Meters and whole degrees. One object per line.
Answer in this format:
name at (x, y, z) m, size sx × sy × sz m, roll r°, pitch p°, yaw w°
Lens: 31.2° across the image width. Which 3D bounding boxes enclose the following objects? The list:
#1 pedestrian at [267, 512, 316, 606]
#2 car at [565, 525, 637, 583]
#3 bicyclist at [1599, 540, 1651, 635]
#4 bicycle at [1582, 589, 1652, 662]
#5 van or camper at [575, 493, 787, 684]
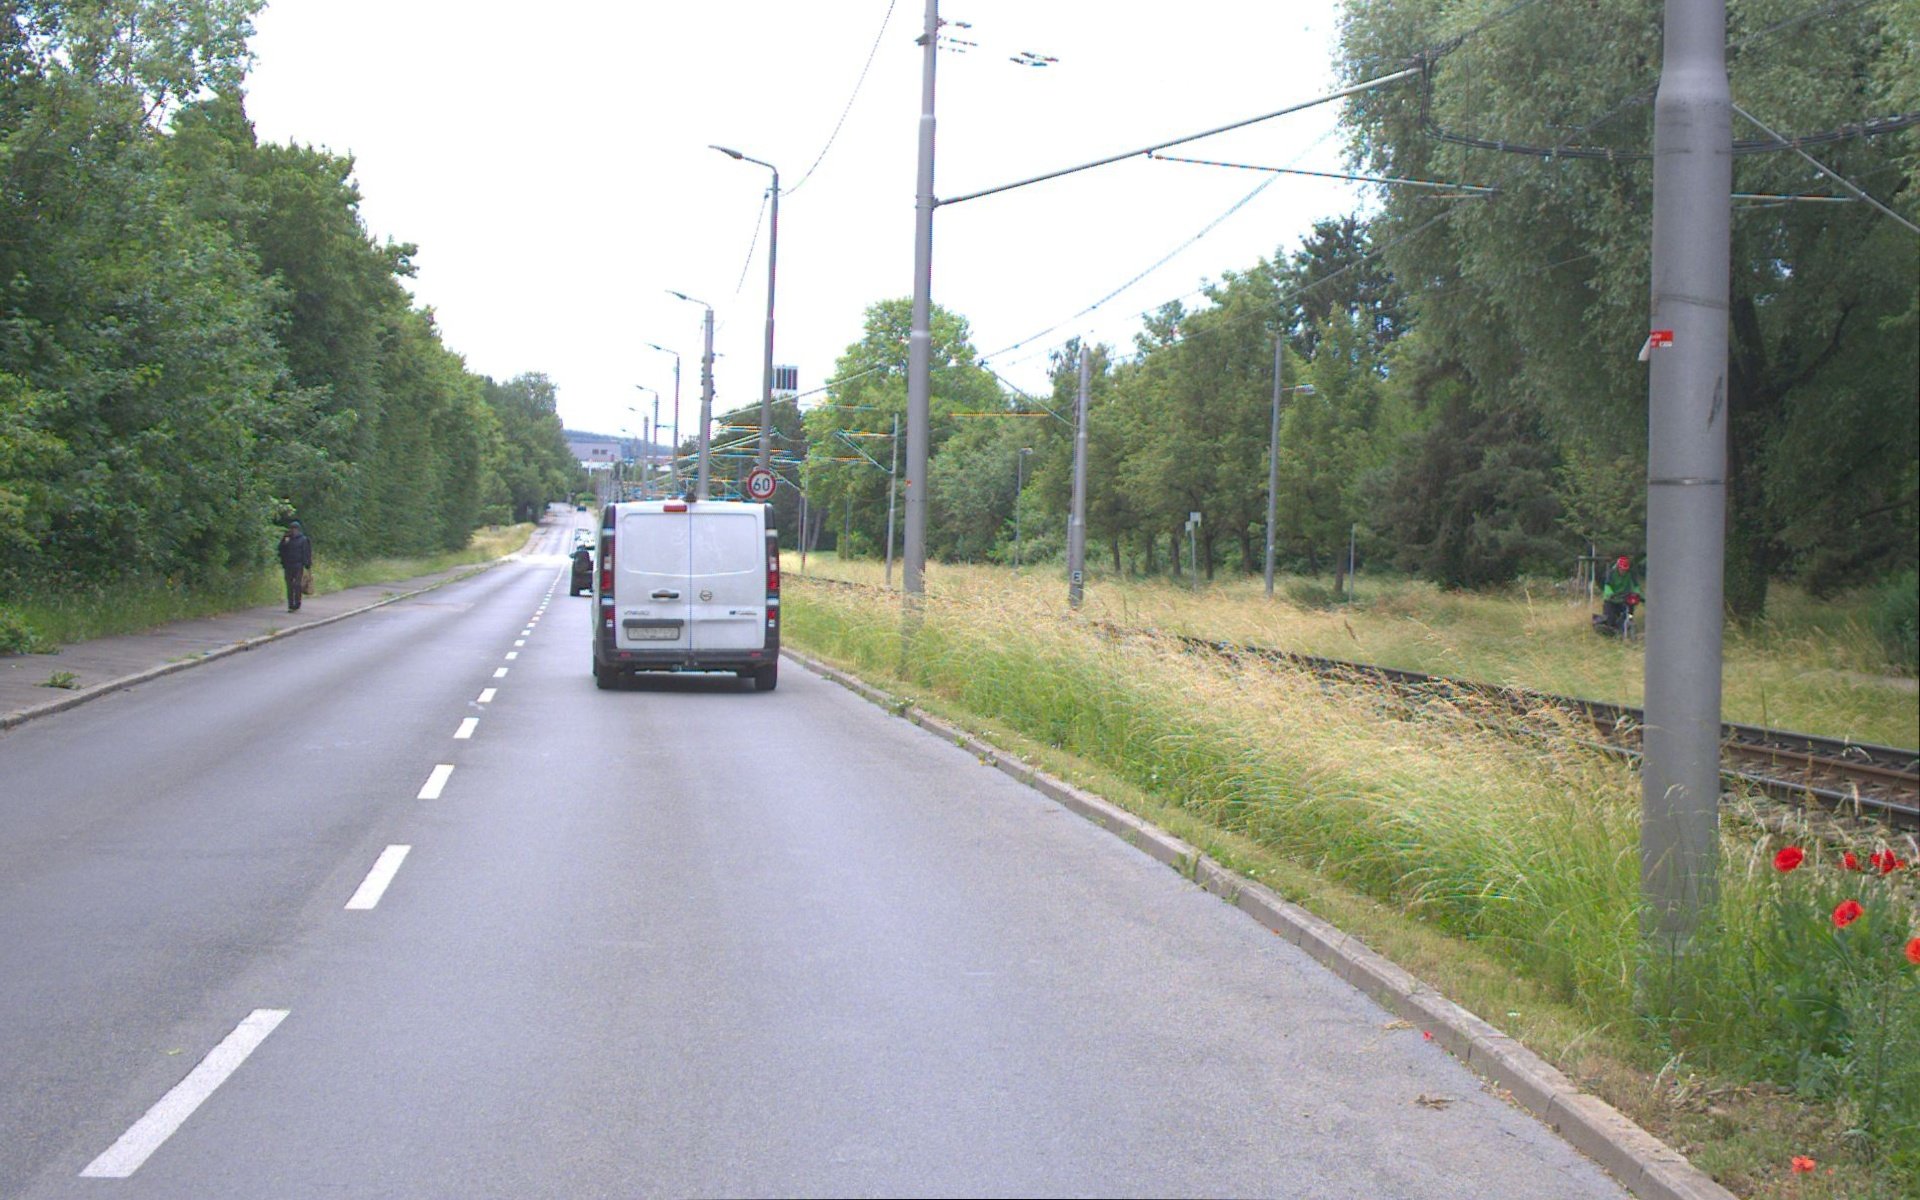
pedestrian at (-12.769, -0.790, 65.663) m, size 0.867 × 1.763 × 0.789 m, roll -1°, pitch 2°, yaw -10°
car at (-10.554, -1.369, 101.042) m, size 1.993 × 1.587 × 4.001 m, roll 2°, pitch 1°, yaw -6°
bicyclist at (12.096, -0.231, 62.545) m, size 0.580 × 1.690 × 0.936 m, roll 2°, pitch 1°, yaw -10°
bicycle at (11.948, 0.452, 62.554) m, size 0.580 × 1.242 × 1.930 m, roll 2°, pitch 1°, yaw -10°
van or camper at (-3.018, -0.140, 36.449) m, size 1.941 × 1.890 × 4.286 m, roll 0°, pitch 1°, yaw -9°
